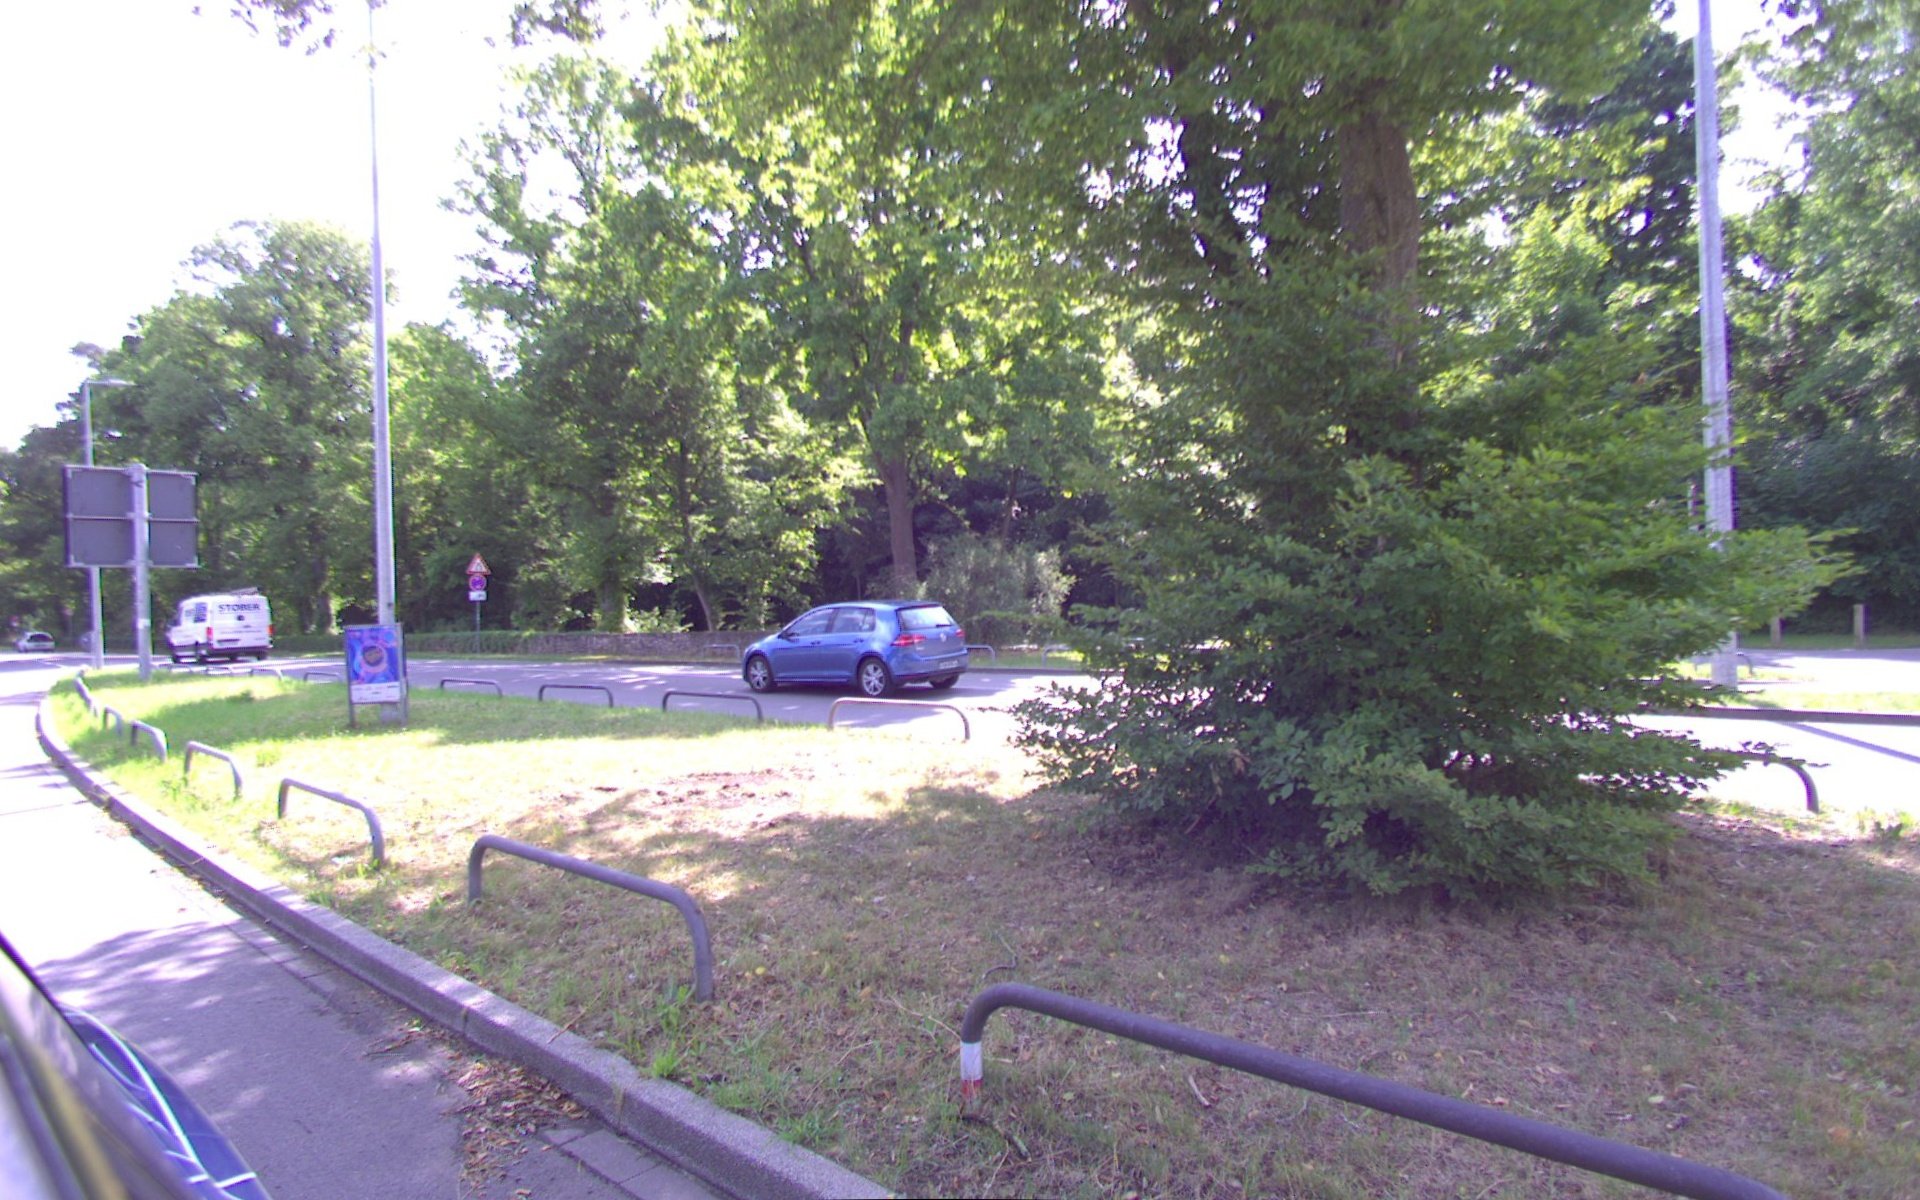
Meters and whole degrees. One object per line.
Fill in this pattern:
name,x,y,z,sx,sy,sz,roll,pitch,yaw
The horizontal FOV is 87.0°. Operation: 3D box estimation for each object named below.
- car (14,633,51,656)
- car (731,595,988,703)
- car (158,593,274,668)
car,-65.292,3.095,71.227,3.872,1.481,1.633,-1,0,43
car,-1.679,0.713,16.136,4.063,1.457,1.678,-1,2,39
car,-26.742,1.044,36.299,5.356,2.449,1.956,-1,1,38
